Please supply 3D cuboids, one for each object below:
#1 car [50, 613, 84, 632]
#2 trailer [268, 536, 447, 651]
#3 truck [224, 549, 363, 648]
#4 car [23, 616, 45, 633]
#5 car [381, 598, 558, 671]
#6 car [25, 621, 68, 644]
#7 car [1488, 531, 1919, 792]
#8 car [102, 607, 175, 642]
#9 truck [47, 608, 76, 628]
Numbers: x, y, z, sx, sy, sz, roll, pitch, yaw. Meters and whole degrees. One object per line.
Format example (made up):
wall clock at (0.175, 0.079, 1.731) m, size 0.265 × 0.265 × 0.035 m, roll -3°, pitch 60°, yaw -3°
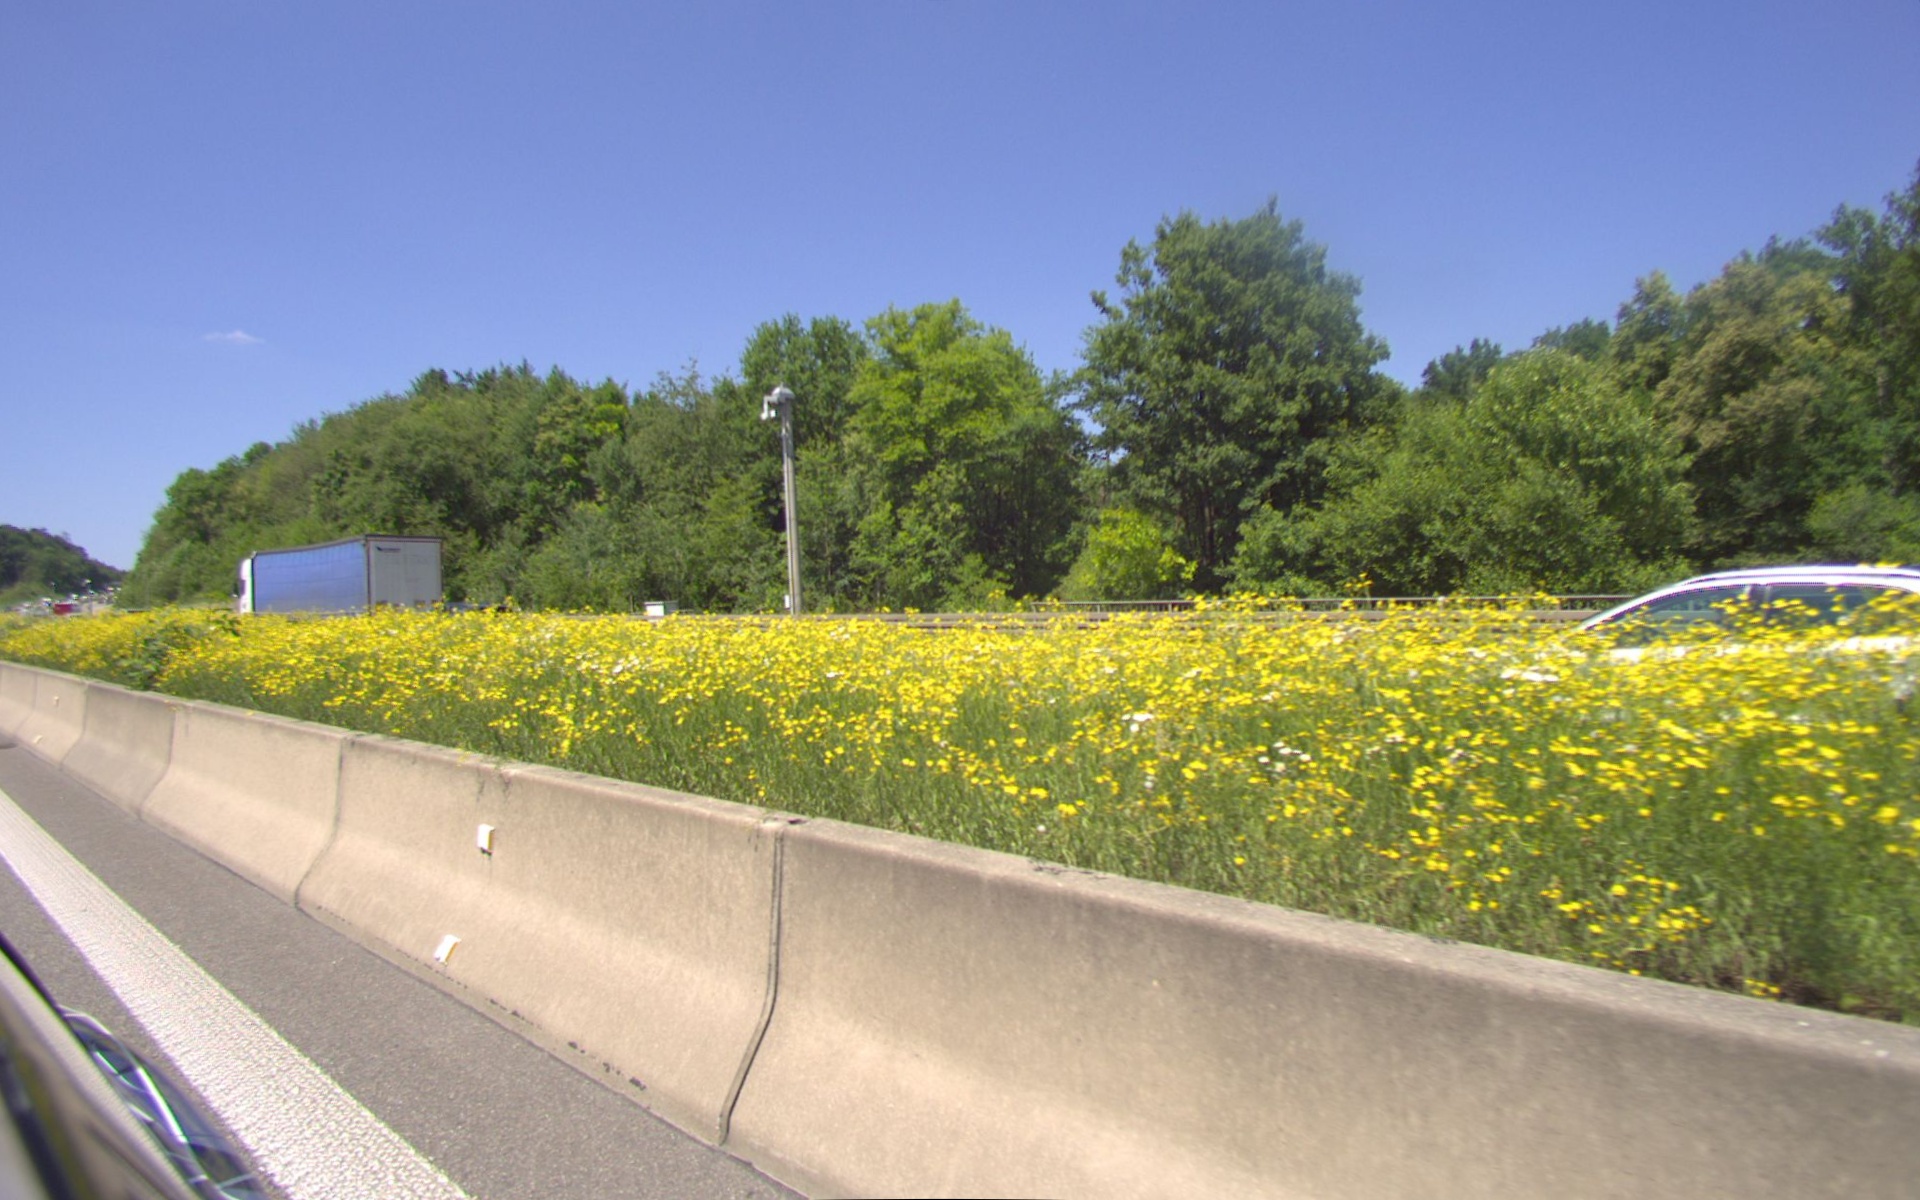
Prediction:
car at (-84.672, 2.146, 95.973) m, size 4.319 × 1.778 × 1.862 m, roll -2°, pitch 0°, yaw 41°
trailer at (-23.156, -0.154, 38.541) m, size 10.164 × 3.886 × 2.752 m, roll -2°, pitch 0°, yaw 41°
truck at (-28.630, 0.012, 43.305) m, size 8.408 × 3.886 × 2.720 m, roll -2°, pitch 0°, yaw 41°
car at (-154.995, 4.104, 169.345) m, size 5.975 × 2.643 × 2.133 m, roll -1°, pitch 0°, yaw 43°
car at (-11.846, 0.789, 24.296) m, size 4.797 × 1.541 × 2.115 m, roll -1°, pitch 0°, yaw 41°
car at (-65.608, 2.322, 72.649) m, size 3.997 × 1.500 × 1.786 m, roll -2°, pitch 0°, yaw 41°
car at (6.100, 0.359, 6.867) m, size 4.154 × 1.556 × 1.768 m, roll -1°, pitch 0°, yaw 41°
car at (-40.367, 1.191, 49.695) m, size 4.636 × 1.573 × 1.973 m, roll -1°, pitch 0°, yaw 41°
truck at (-176.275, 3.466, 198.526) m, size 3.875 × 3.746 × 16.757 m, roll -1°, pitch 0°, yaw -43°
